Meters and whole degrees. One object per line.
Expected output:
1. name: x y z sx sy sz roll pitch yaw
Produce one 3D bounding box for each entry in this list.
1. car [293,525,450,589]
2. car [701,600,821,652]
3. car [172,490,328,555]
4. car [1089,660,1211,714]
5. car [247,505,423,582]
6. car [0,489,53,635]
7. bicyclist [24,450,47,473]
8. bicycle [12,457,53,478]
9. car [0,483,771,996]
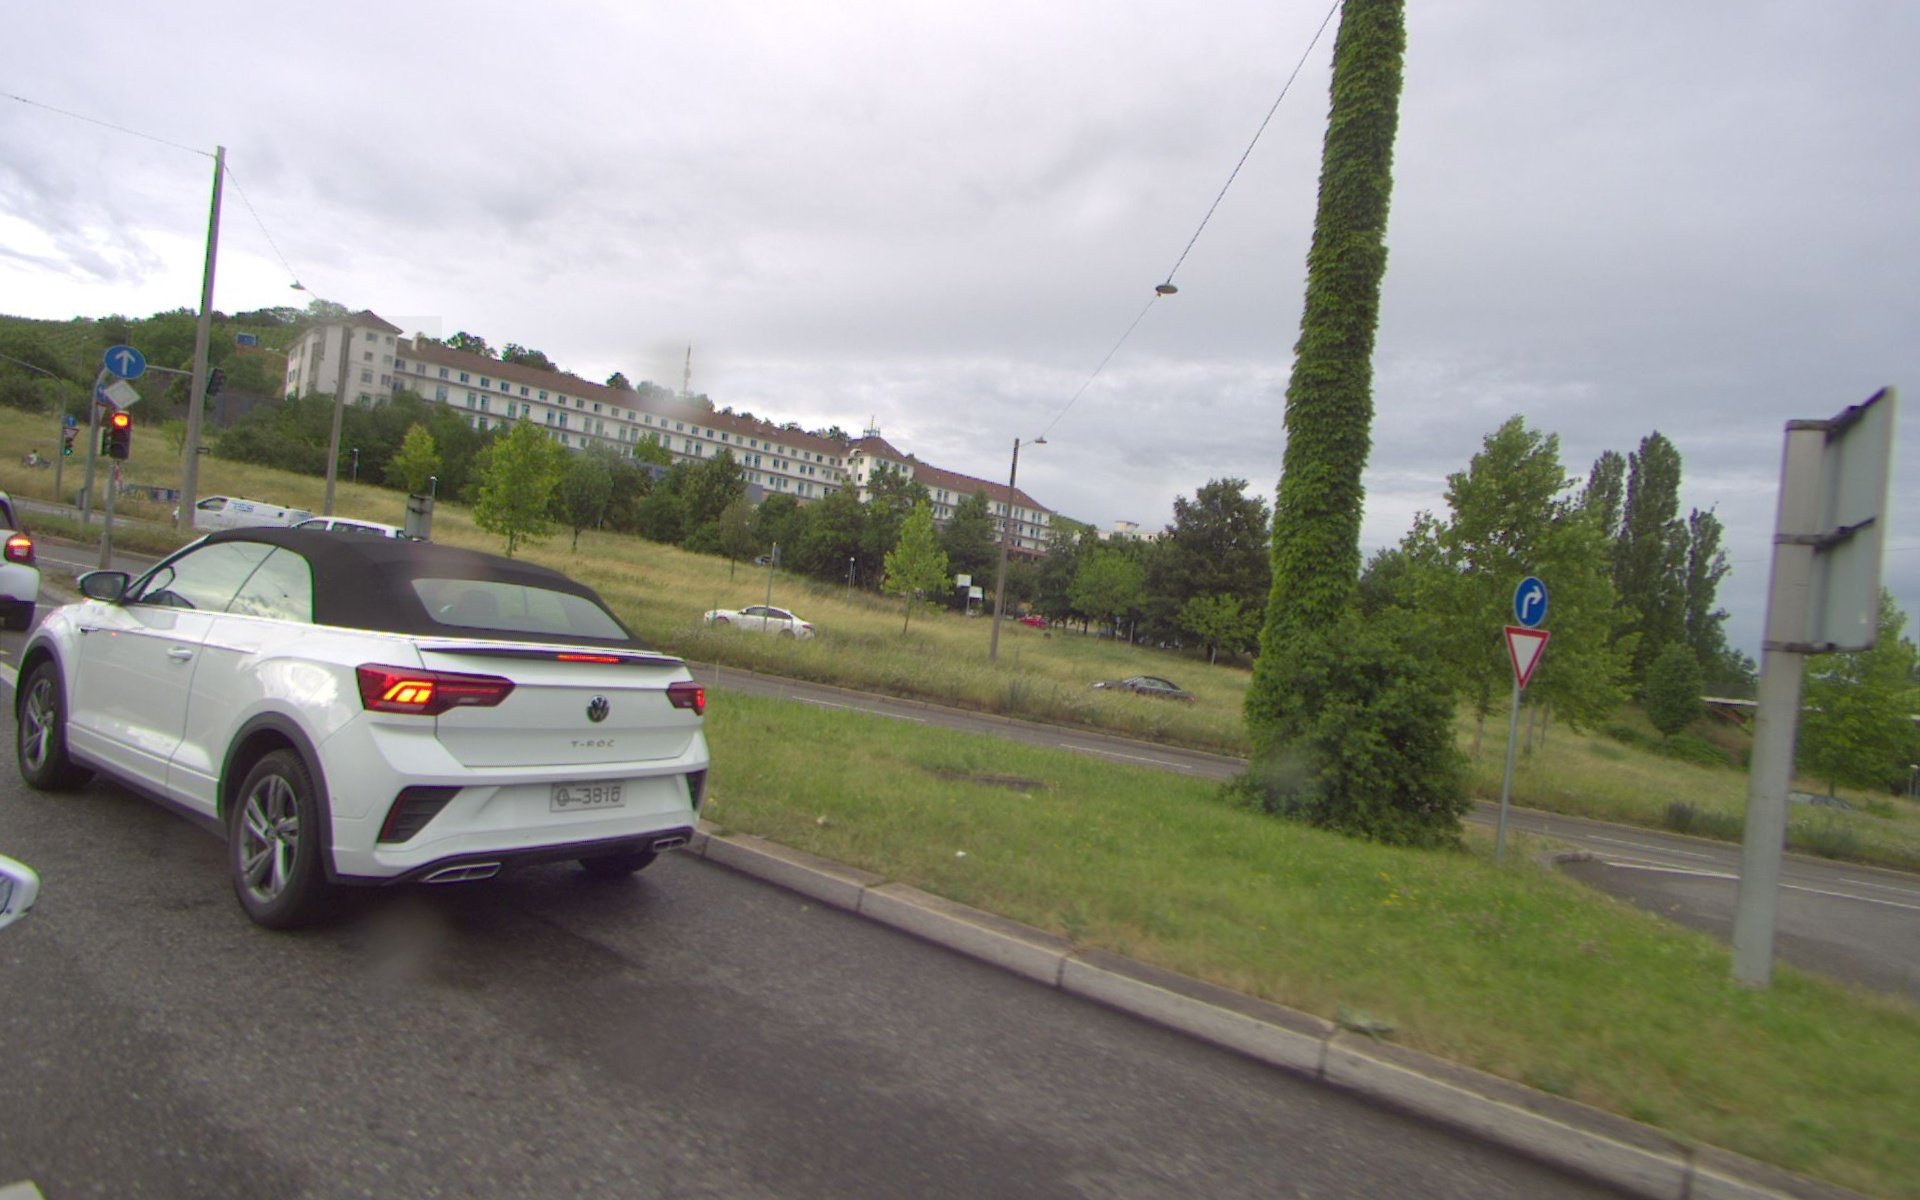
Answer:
1. car: -21.718 -1.567 37.297 4.445 1.639 1.999 8 -2 -5
2. car: -8.051 1.062 41.000 4.340 1.494 2.001 8 -2 -1
3. car: -28.857 -3.138 41.022 4.653 1.815 2.137 7 -2 0
4. car: 7.640 3.497 40.764 4.419 1.494 2.001 7 -2 1
5. car: -21.311 -1.897 34.468 4.615 1.871 1.821 8 -2 -5
6. car: -11.802 -0.598 11.435 3.402 1.520 1.657 6 -2 40
7. bicyclist: -51.651 -7.729 56.198 0.570 1.057 0.525 10 -3 -6
8. bicycle: -51.764 -7.403 56.161 1.594 0.783 0.520 10 -3 -6
9. car: -3.177 0.408 5.129 4.160 1.571 1.716 6 -2 32
